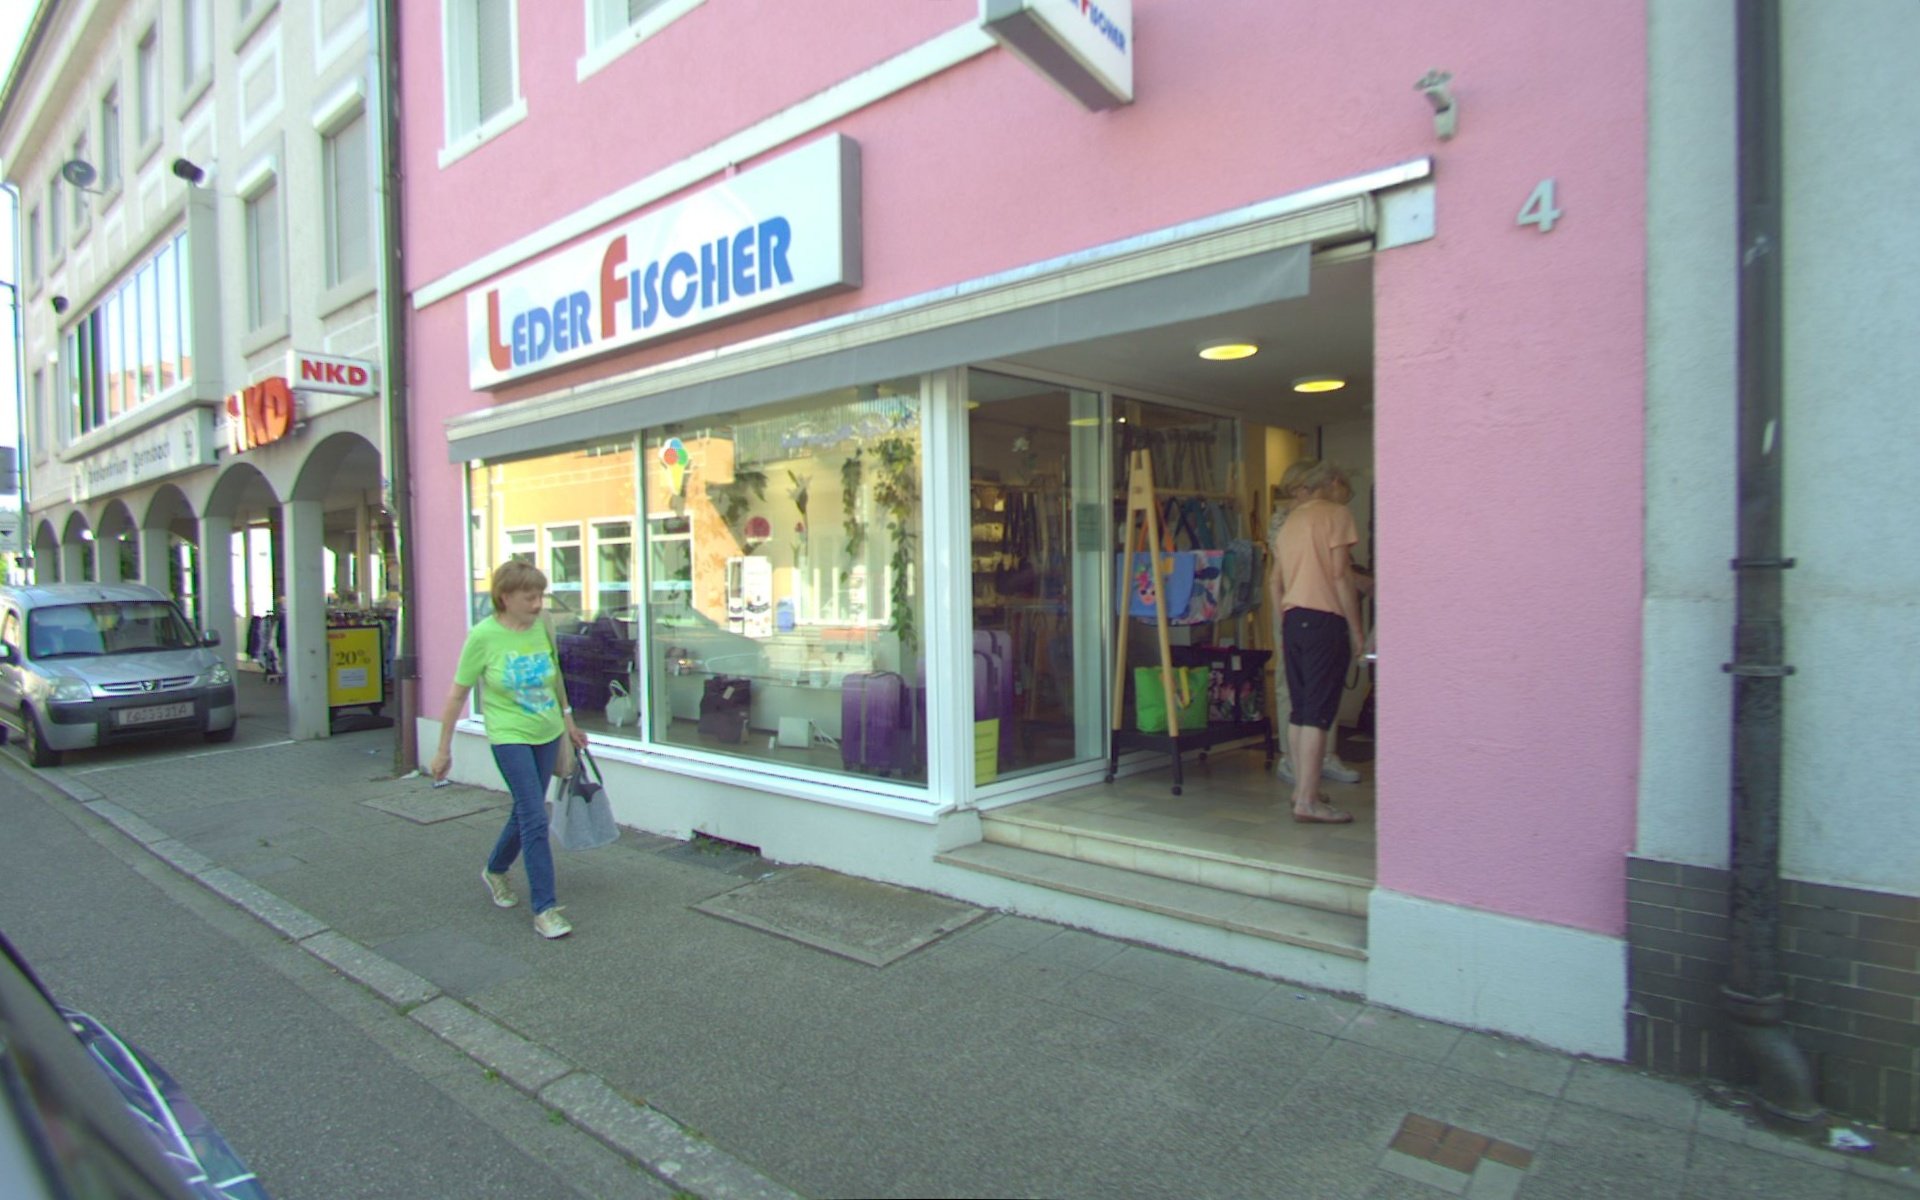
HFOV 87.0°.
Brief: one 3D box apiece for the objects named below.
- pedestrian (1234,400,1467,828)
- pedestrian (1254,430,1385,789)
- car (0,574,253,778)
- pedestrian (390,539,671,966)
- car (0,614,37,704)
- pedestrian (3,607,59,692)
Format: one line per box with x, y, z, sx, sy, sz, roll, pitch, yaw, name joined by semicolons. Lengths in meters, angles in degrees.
1.702;0.050;4.502;0.663;1.735;0.716;-1;0;-9;pedestrian
1.882;0.047;5.277;0.567;1.735;0.571;-1;0;25;pedestrian
-9.364;0.689;10.918;4.141;1.752;1.690;-1;2;39;car
-1.904;0.582;4.491;0.859;1.644;0.777;-1;3;43;pedestrian
-18.012;1.039;18.041;4.452;1.481;1.784;-1;1;41;car
-17.496;0.918;19.061;0.532;1.563;0.616;-1;1;31;pedestrian
